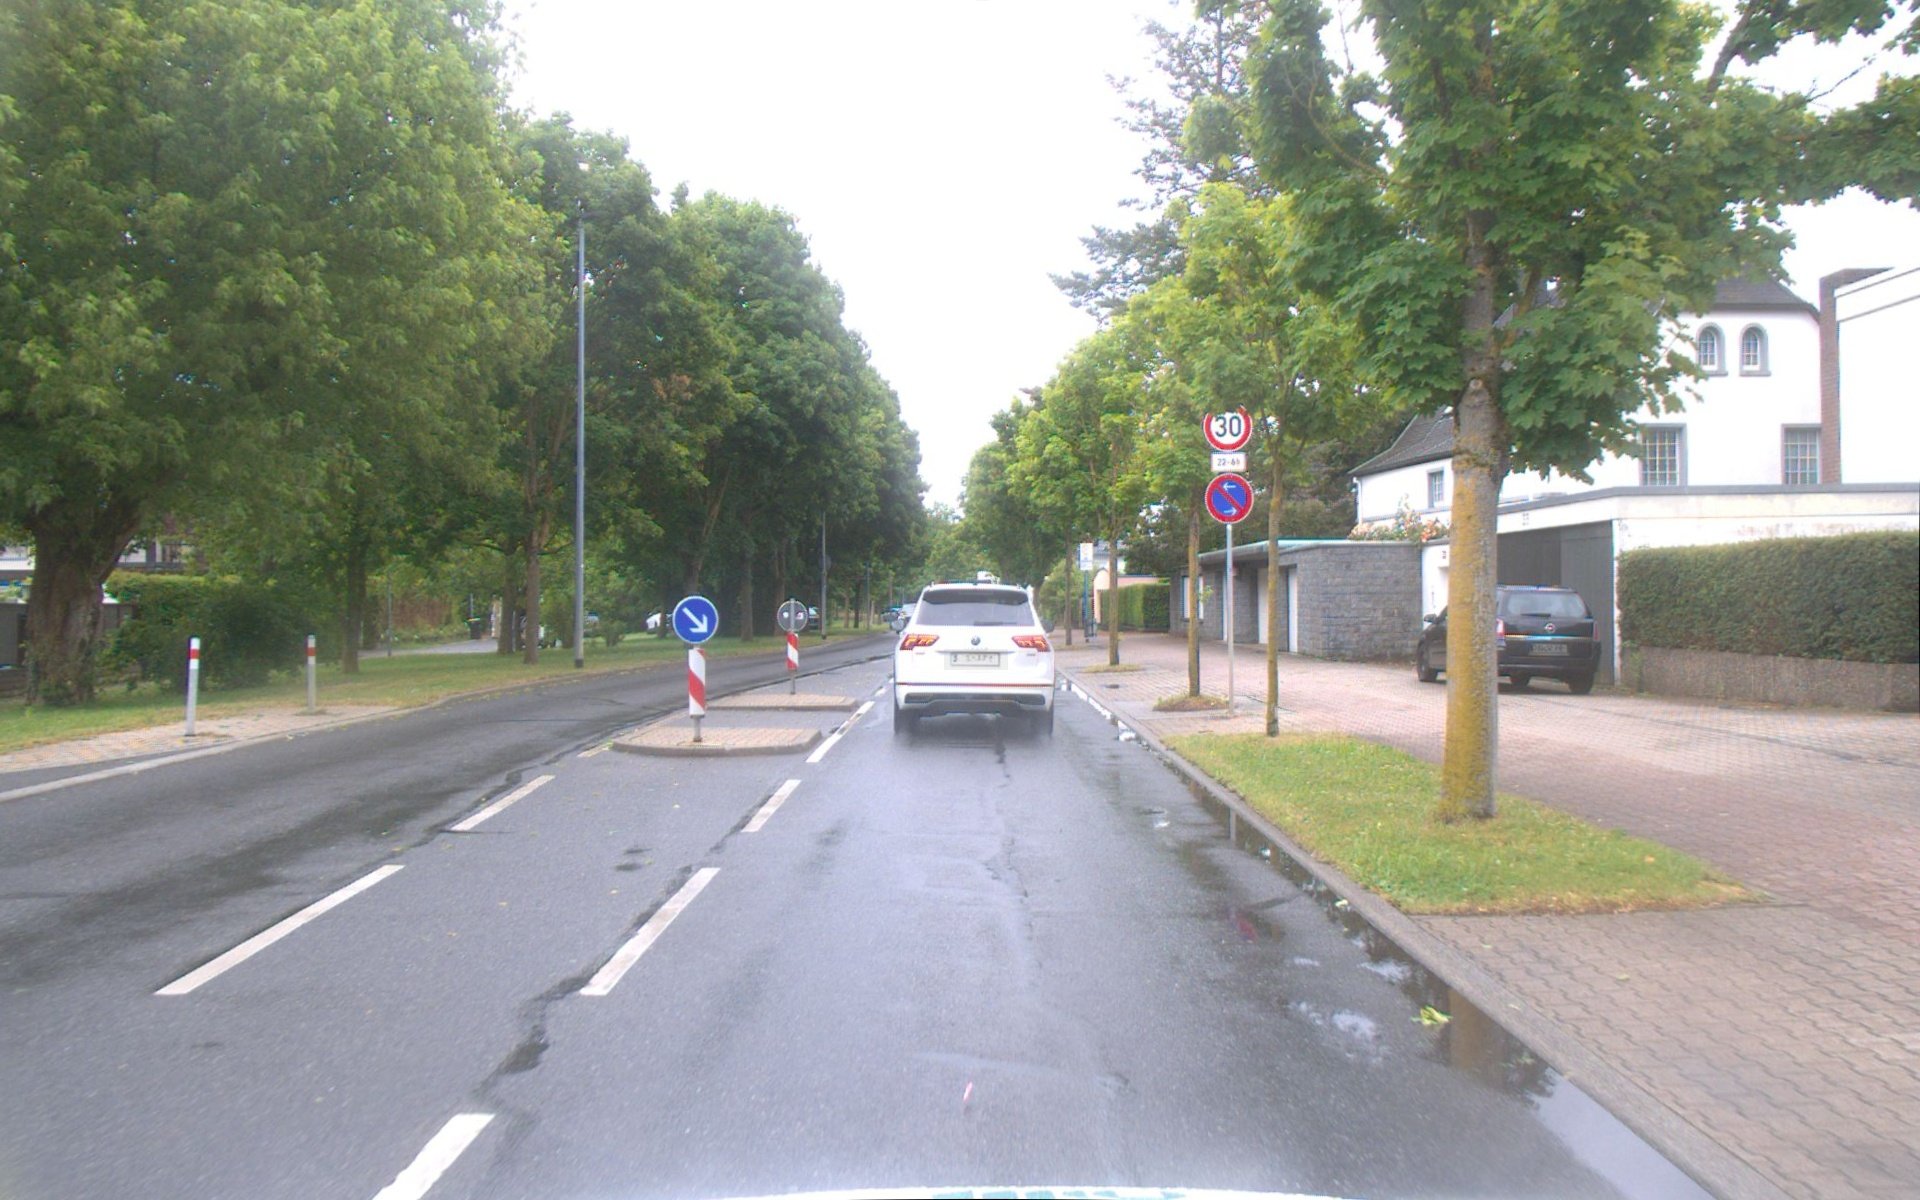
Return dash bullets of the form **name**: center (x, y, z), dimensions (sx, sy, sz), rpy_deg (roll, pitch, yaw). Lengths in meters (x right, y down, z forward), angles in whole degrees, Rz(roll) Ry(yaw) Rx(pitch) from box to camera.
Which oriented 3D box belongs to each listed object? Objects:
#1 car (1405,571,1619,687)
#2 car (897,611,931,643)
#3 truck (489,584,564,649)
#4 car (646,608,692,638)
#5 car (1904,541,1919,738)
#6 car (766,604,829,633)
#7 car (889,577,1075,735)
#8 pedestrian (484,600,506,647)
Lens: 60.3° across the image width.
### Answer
- **car**: center (8.058, 0.390, 24.585), dimensions (1.734, 1.524, 4.545), rpy_deg (-1, 0, 1)
- **car**: center (-2.492, 1.471, 90.704), dimensions (1.777, 1.677, 3.999), rpy_deg (1, 0, -1)
- **truck**: center (-18.531, 0.693, 70.991), dimensions (2.241, 2.642, 5.866), rpy_deg (-1, 0, -6)
- **car**: center (-15.718, 1.226, 89.115), dimensions (1.814, 1.508, 3.977), rpy_deg (-1, 0, -19)
- **car**: center (8.791, 0.308, 11.940), dimensions (1.708, 1.639, 4.001), rpy_deg (-1, 0, 1)
- **car**: center (-9.008, 1.034, 91.686), dimensions (1.825, 1.508, 3.952), rpy_deg (-1, 0, -34)
- **car**: center (0.165, 0.583, 19.415), dimensions (1.956, 1.660, 3.998), rpy_deg (0, 0, -2)
- **pedestrian**: center (-18.852, 0.952, 67.064), dimensions (0.695, 1.873, 0.823), rpy_deg (-1, 0, -5)
